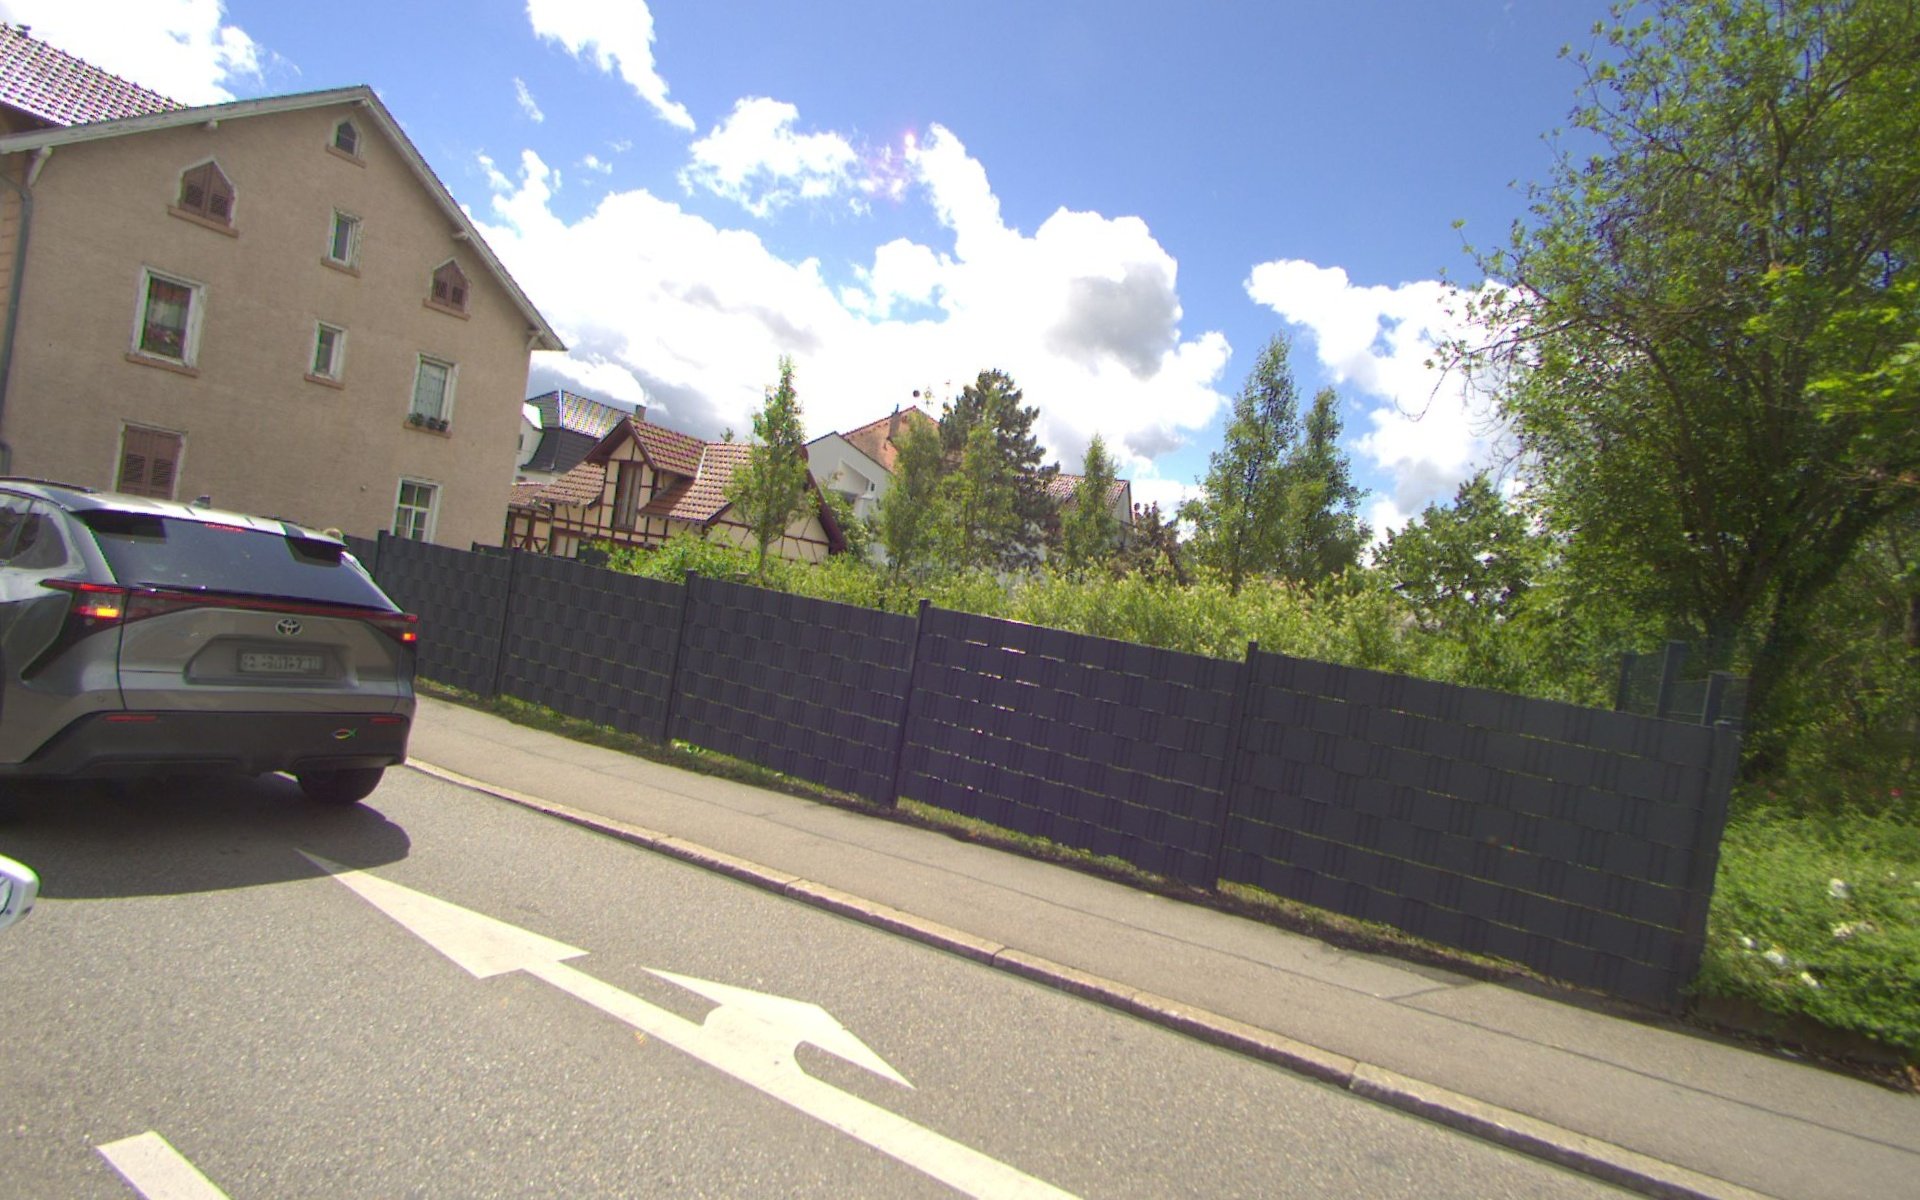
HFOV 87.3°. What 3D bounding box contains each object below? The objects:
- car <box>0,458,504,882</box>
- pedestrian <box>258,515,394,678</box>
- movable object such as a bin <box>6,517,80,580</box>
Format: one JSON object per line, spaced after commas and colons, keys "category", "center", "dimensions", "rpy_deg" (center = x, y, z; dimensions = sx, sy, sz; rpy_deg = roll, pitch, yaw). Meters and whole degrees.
{"category": "car", "center": [-5.057, 0.140, 5.923], "dimensions": [4.605, 1.631, 1.924], "rpy_deg": [7, -2, 32]}
{"category": "pedestrian", "center": [-6.650, -0.021, 10.564], "dimensions": [0.700, 1.581, 0.860], "rpy_deg": [7, 0, 31]}
{"category": "movable object such as a bin", "center": [-16.798, -0.942, 18.431], "dimensions": [0.736, 1.025, 0.777], "rpy_deg": [7, 1, 32]}
